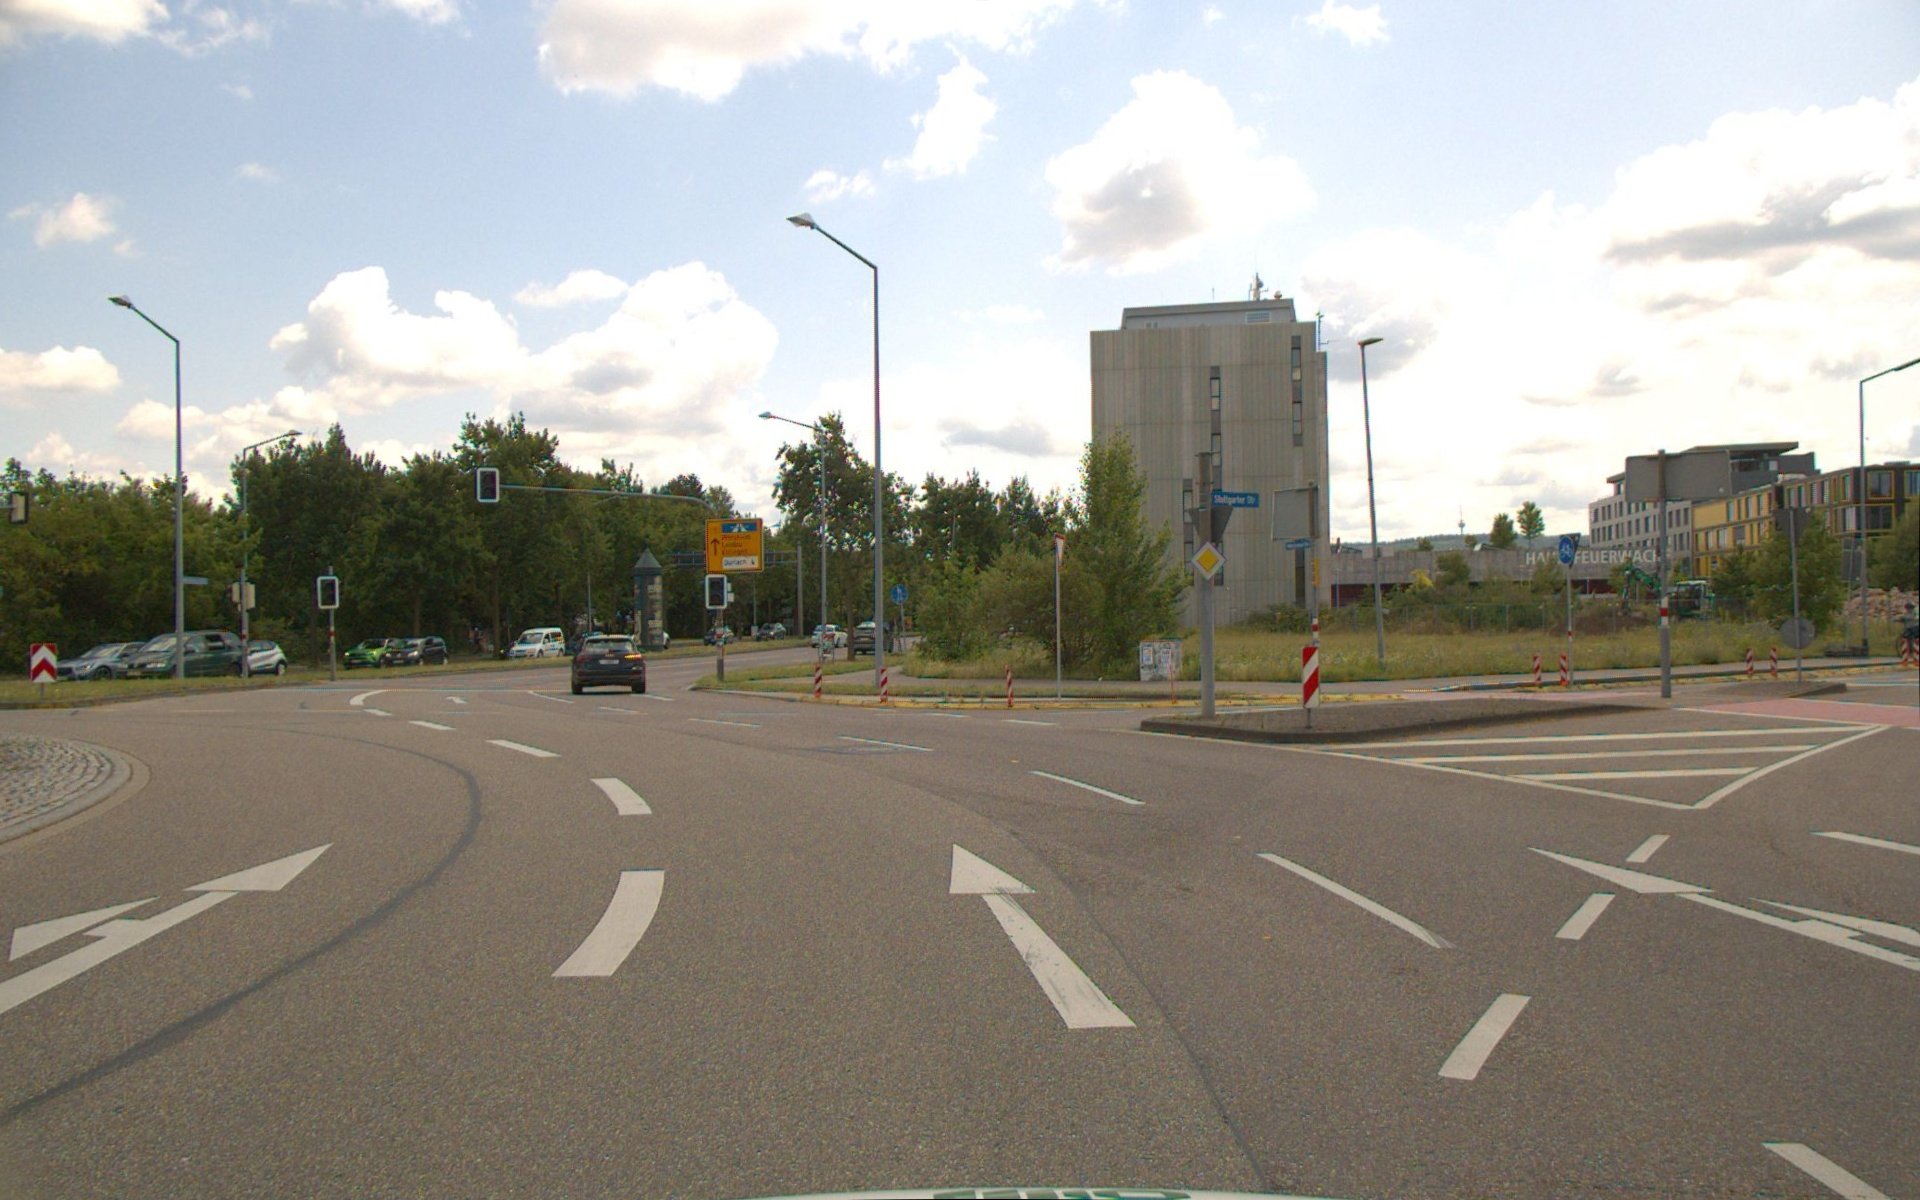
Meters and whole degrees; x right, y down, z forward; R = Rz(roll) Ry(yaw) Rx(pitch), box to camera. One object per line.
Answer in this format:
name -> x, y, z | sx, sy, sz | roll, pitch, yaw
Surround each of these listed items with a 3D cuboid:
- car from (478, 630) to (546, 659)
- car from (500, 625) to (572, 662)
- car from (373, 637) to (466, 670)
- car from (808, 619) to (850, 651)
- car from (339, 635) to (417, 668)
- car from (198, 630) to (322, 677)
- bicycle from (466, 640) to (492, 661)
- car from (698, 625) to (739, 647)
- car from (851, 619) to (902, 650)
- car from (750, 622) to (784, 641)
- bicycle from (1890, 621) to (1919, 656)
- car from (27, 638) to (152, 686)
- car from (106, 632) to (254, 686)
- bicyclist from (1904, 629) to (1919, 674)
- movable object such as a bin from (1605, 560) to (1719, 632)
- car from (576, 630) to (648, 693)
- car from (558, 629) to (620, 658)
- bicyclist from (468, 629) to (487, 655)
car -> -25.269, 2.506, 93.497 | 1.799, 1.468, 4.423 | -3, -1, 13
car -> -22.351, 2.256, 87.363 | 1.799, 1.831, 4.791 | -3, -1, 9
car -> -24.241, 2.375, 74.336 | 1.799, 1.333, 4.791 | -3, -1, 11
car -> -8.453, 2.260, 106.976 | 1.951, 2.049, 4.002 | 0, -1, 6
car -> -26.889, 2.363, 76.532 | 1.581, 1.372, 4.174 | -3, -1, 9
car -> -27.334, 2.073, 64.752 | 1.951, 1.716, 4.791 | -1, -1, 14
bicycle -> -29.632, 3.076, 101.853 | 0.744, 1.240, 2.018 | 1, -1, 8
car -> -18.637, 2.798, 127.968 | 1.685, 1.619, 5.017 | -2, -1, 8
car -> -4.695, 1.938, 93.503 | 1.951, 1.654, 4.313 | -1, 0, 10
car -> -16.858, 2.726, 144.541 | 1.725, 1.605, 5.035 | -2, -1, 8
bicycle -> 29.384, 1.196, 50.342 | 2.513, 1.035, 0.866 | 2, -2, -34
car -> -28.502, 2.005, 54.296 | 1.866, 1.448, 4.191 | -1, -1, 0
car -> -24.861, 1.858, 52.899 | 1.867, 1.620, 4.596 | -1, -1, 12
bicyclist -> 29.358, 1.567, 50.294 | 0.800, 1.348, 0.868 | 2, -2, -28
movable object such as a bin -> 41.200, -0.178, 96.991 | 7.539, 3.920, 3.007 | 2, -2, -39
car -> -8.665, 1.505, 41.406 | 1.653, 1.489, 3.990 | 0, -1, -10
car -> -21.091, 2.466, 94.227 | 1.799, 1.506, 4.756 | -3, -1, 9
bicyclist -> -29.640, 2.576, 101.659 | 0.812, 1.592, 0.884 | 1, -1, 8
